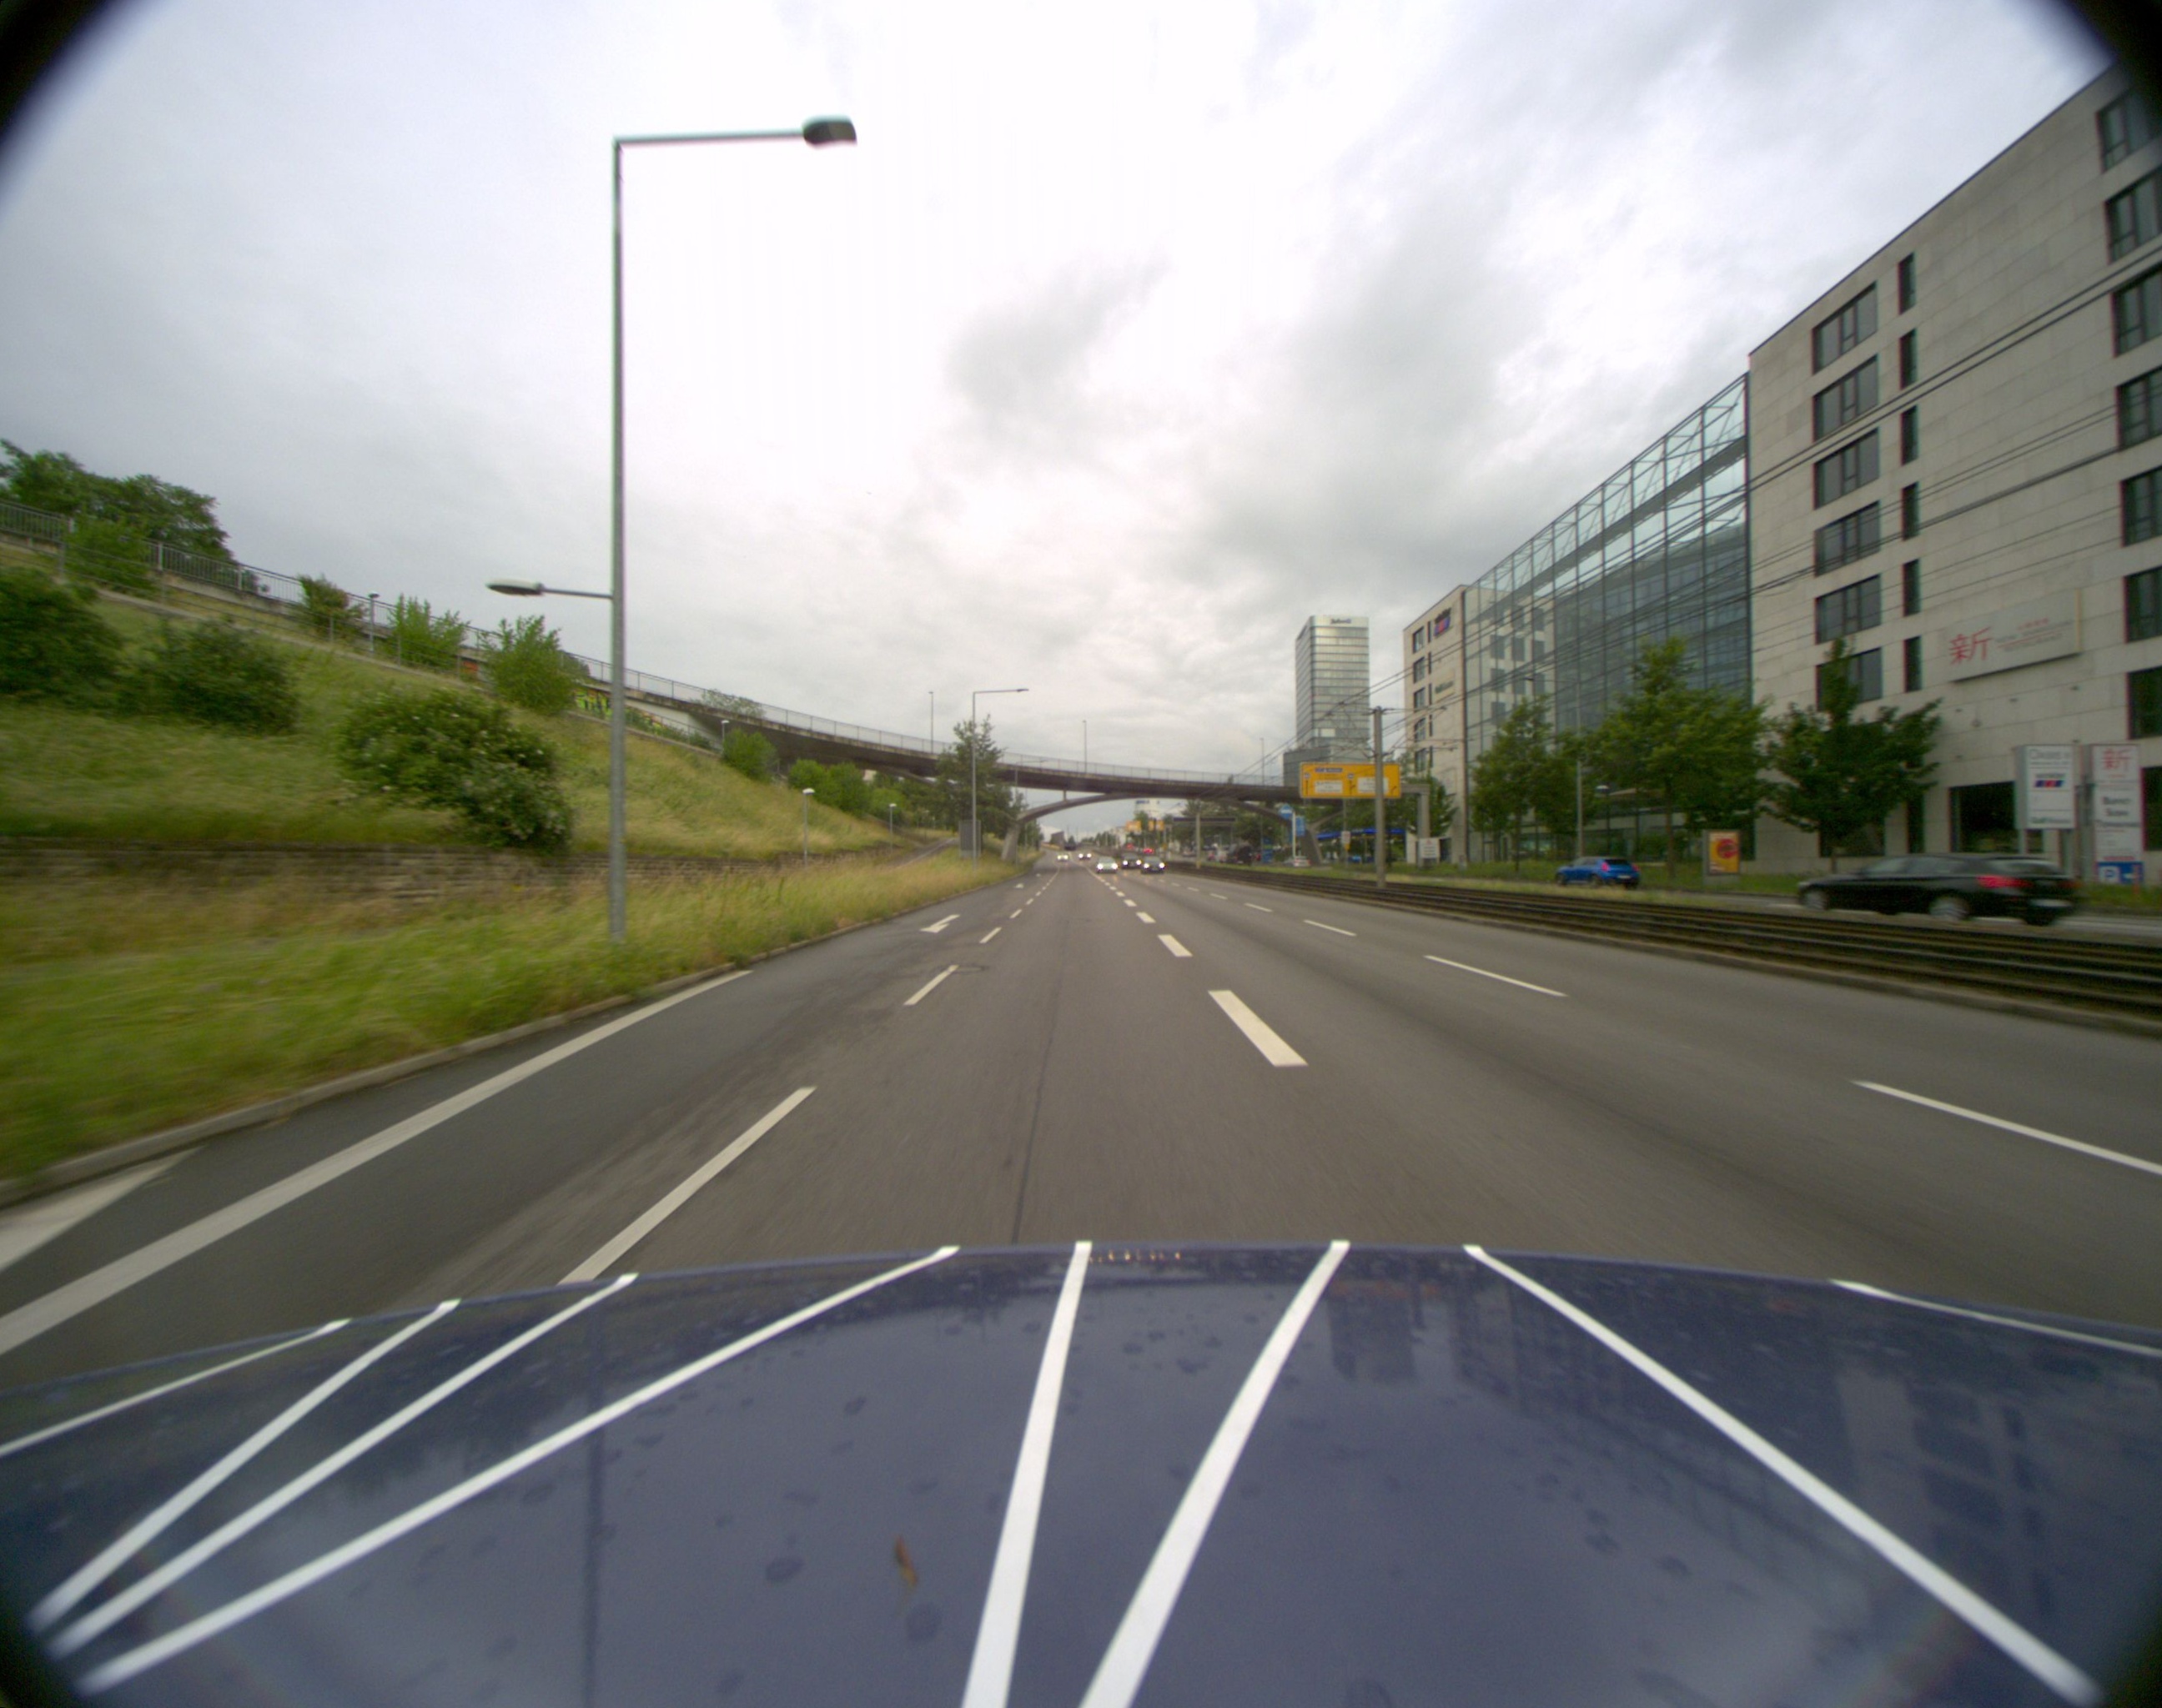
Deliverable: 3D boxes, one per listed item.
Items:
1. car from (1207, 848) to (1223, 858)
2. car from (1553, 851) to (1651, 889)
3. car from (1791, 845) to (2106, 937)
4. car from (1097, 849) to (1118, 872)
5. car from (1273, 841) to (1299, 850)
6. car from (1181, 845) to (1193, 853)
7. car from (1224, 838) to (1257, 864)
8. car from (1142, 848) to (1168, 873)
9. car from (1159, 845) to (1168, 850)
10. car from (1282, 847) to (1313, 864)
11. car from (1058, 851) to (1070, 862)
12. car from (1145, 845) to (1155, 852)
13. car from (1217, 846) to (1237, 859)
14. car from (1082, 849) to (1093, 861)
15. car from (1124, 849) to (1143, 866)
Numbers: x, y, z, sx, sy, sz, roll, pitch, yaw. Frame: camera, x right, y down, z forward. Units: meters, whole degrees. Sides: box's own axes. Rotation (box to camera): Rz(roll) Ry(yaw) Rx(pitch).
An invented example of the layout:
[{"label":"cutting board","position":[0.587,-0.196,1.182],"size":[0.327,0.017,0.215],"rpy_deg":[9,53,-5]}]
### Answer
[{"label":"car","position":[22.418,-0.203,127.200],"size":[1.814,1.597,4.490],"rpy_deg":[-2,0,0]},{"label":"car","position":[24.111,0.695,35.370],"size":[1.845,1.446,4.023],"rpy_deg":[-2,2,1]},{"label":"car","position":[17.441,0.647,15.667],"size":[1.776,1.493,4.199],"rpy_deg":[-2,2,3]},{"label":"car","position":[2.434,0.558,70.066],"size":[1.794,1.858,4.376],"rpy_deg":[-2,2,1]},{"label":"car","position":[39.182,-1.653,145.377],"size":[4.363,1.495,1.885],"rpy_deg":[-2,2,3]},{"label":"car","position":[22.372,-1.116,160.525],"size":[1.814,1.524,4.274],"rpy_deg":[-2,0,-1]},{"label":"car","position":[17.988,-0.326,86.032],"size":[2.390,2.801,5.610],"rpy_deg":[-2,1,-1]},{"label":"car","position":[6.233,0.500,64.146],"size":[1.794,1.858,4.376],"rpy_deg":[-2,2,1]},{"label":"car","position":[22.837,-1.766,210.069],"size":[1.925,1.488,4.656],"rpy_deg":[2,0,1]},{"label":"car","position":[21.488,0.140,75.680],"size":[1.764,1.524,4.817],"rpy_deg":[-2,0,1]},{"label":"car","position":[-2.880,0.466,128.867],"size":[1.794,1.622,4.376],"rpy_deg":[-2,2,1]},{"label":"car","position":[16.661,-1.268,183.934],"size":[1.815,1.524,4.867],"rpy_deg":[-2,0,-3]},{"label":"car","position":[21.027,-0.266,109.437],"size":[1.942,1.751,5.062],"rpy_deg":[-2,0,2]},{"label":"car","position":[1.126,0.193,132.186],"size":[1.794,1.858,4.376],"rpy_deg":[-2,2,1]},{"label":"car","position":[5.620,0.343,81.166],"size":[1.794,1.536,4.376],"rpy_deg":[-2,2,1]}]
